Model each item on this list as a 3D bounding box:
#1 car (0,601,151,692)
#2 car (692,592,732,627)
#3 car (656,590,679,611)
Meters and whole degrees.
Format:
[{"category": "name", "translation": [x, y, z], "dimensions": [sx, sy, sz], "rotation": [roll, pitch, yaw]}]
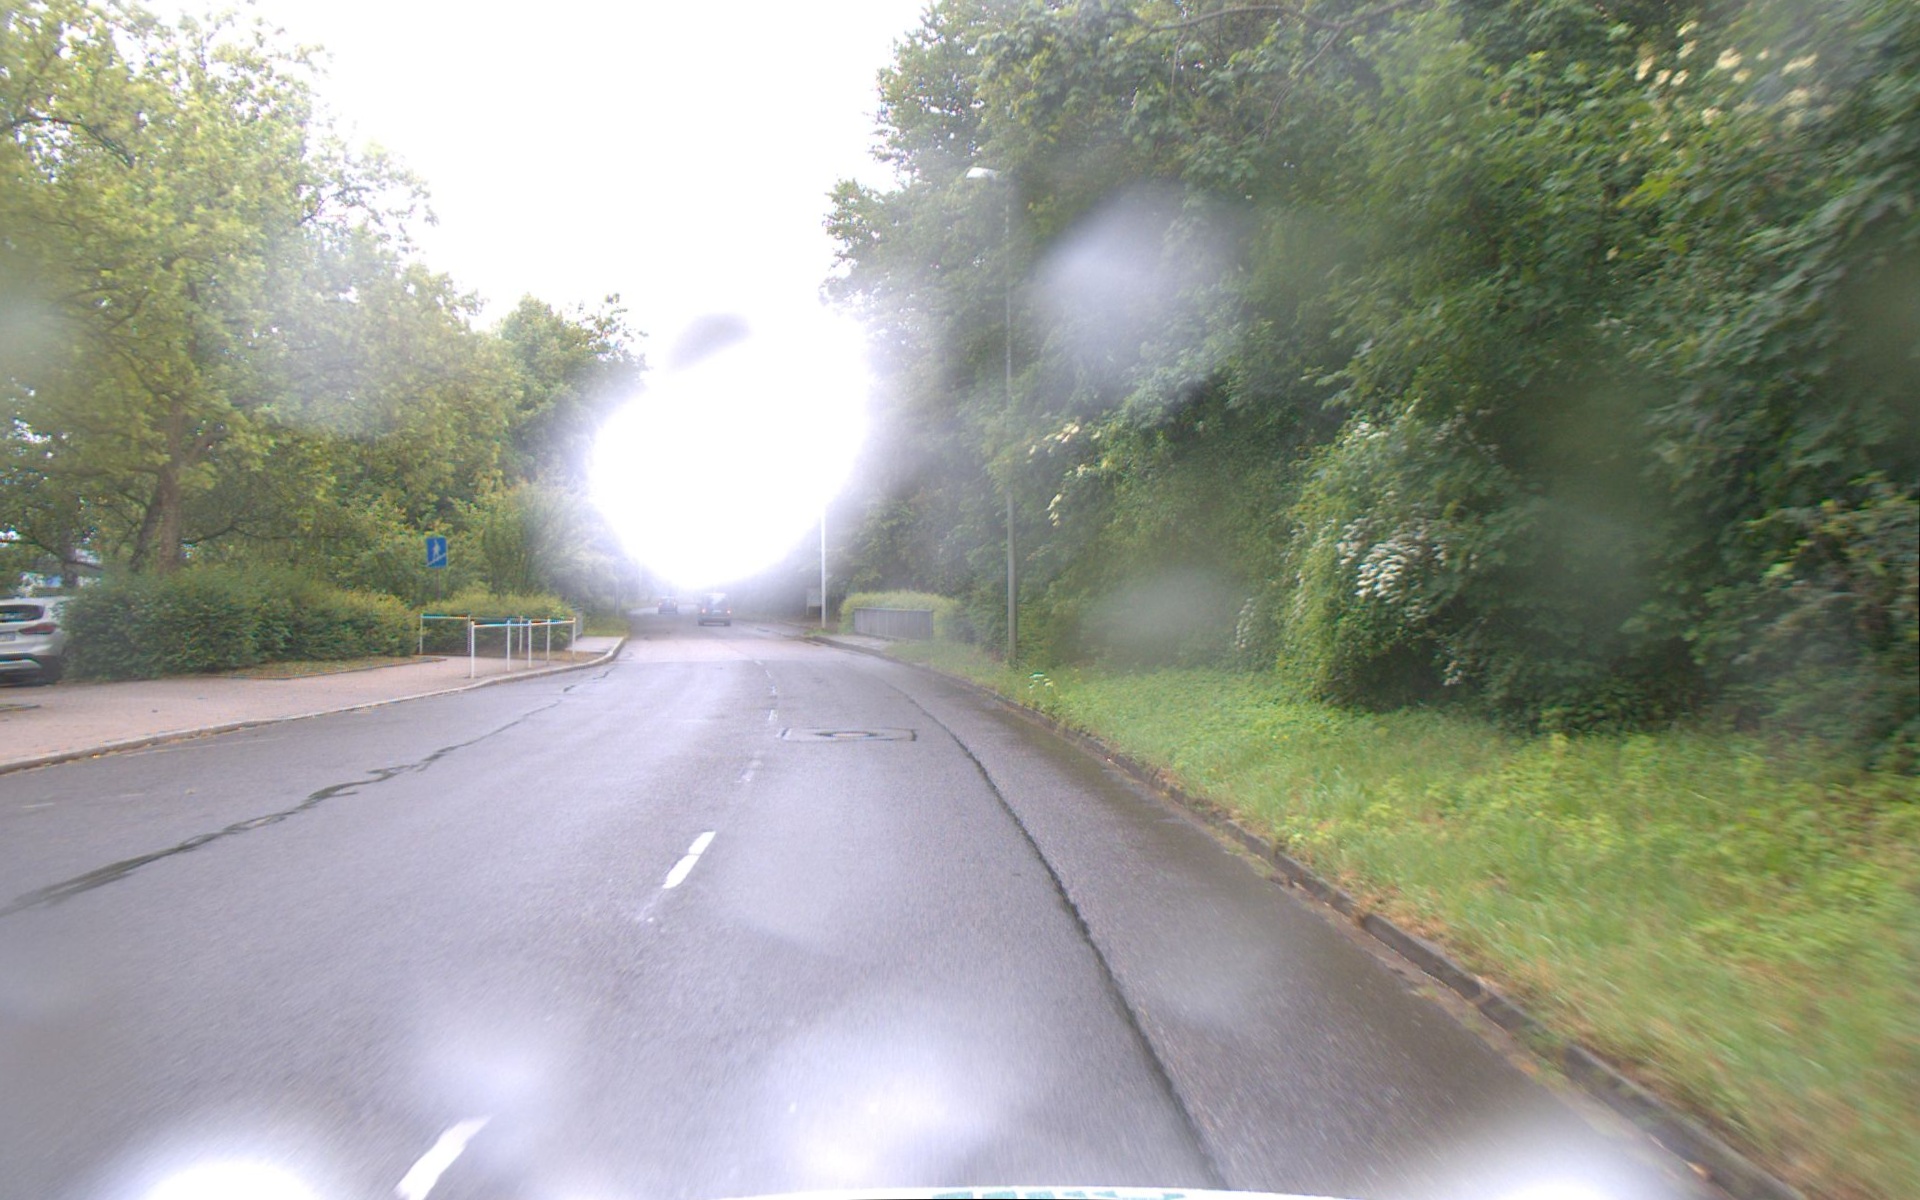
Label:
[{"category": "car", "translation": [-17.166, 0.850, 31.403], "dimensions": [1.759, 1.536, 3.997], "rotation": [-3, 0, -3]}, {"category": "car", "translation": [-14.438, 0.545, 96.126], "dimensions": [1.951, 1.959, 3.986], "rotation": [0, 0, -13]}, {"category": "car", "translation": [-26.052, 0.045, 147.259], "dimensions": [1.957, 1.847, 3.990], "rotation": [1, -1, -10]}]
